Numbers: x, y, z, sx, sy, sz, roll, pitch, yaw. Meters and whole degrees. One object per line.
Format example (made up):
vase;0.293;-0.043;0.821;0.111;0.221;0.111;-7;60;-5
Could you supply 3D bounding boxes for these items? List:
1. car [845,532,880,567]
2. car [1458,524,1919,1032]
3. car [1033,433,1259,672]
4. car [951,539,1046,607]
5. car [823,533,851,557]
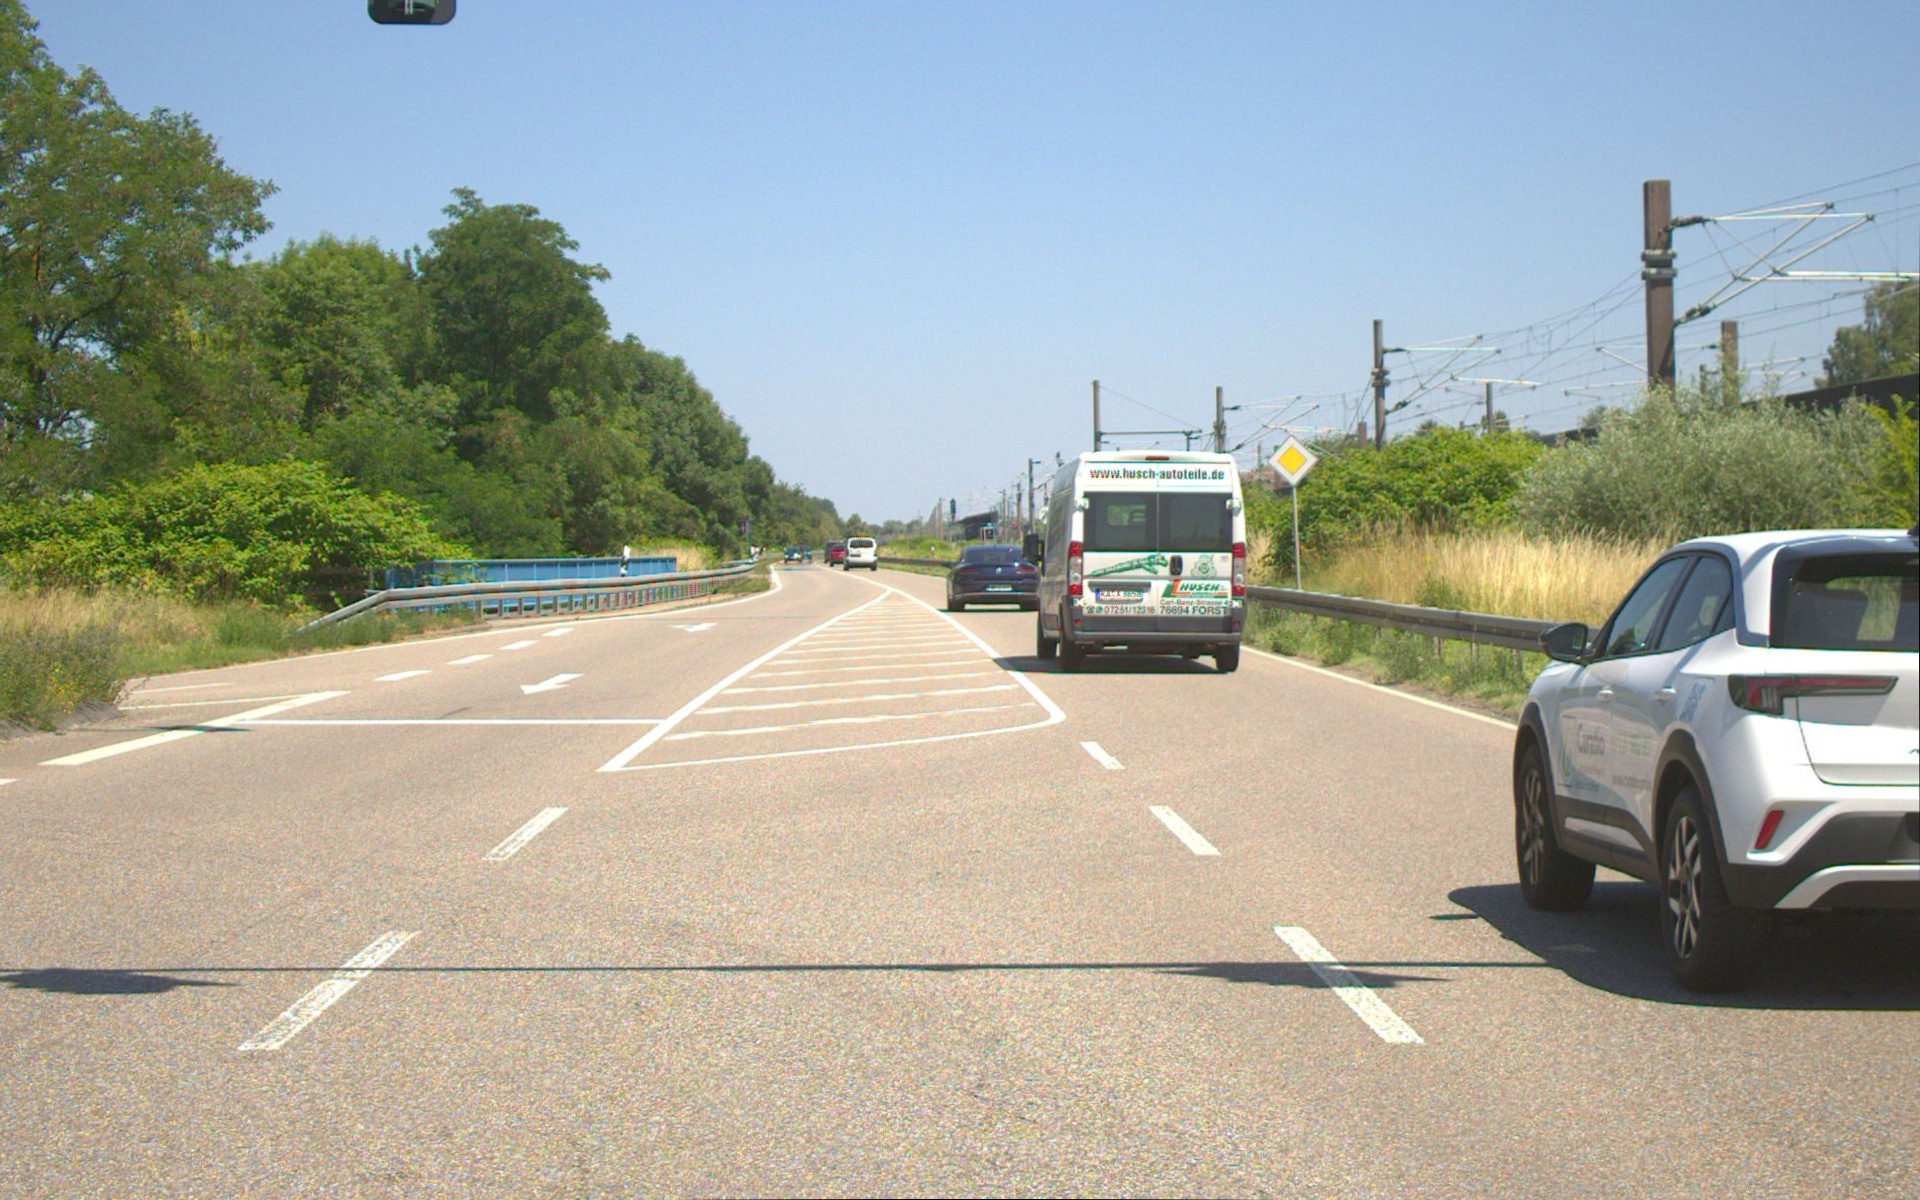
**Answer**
car;-5.784;-2.986;202.924;1.993;1.977;4.060;1;1;-2
car;3.175;0.505;12.712;1.817;1.558;4.279;0;1;-3
car;2.120;-0.594;41.179;2.188;2.595;6.751;1;1;-1
car;0.799;-0.596;73.287;1.856;1.375;4.504;1;1;-1
car;-9.145;-4.096;255.727;2.019;1.720;4.543;0;1;-3
